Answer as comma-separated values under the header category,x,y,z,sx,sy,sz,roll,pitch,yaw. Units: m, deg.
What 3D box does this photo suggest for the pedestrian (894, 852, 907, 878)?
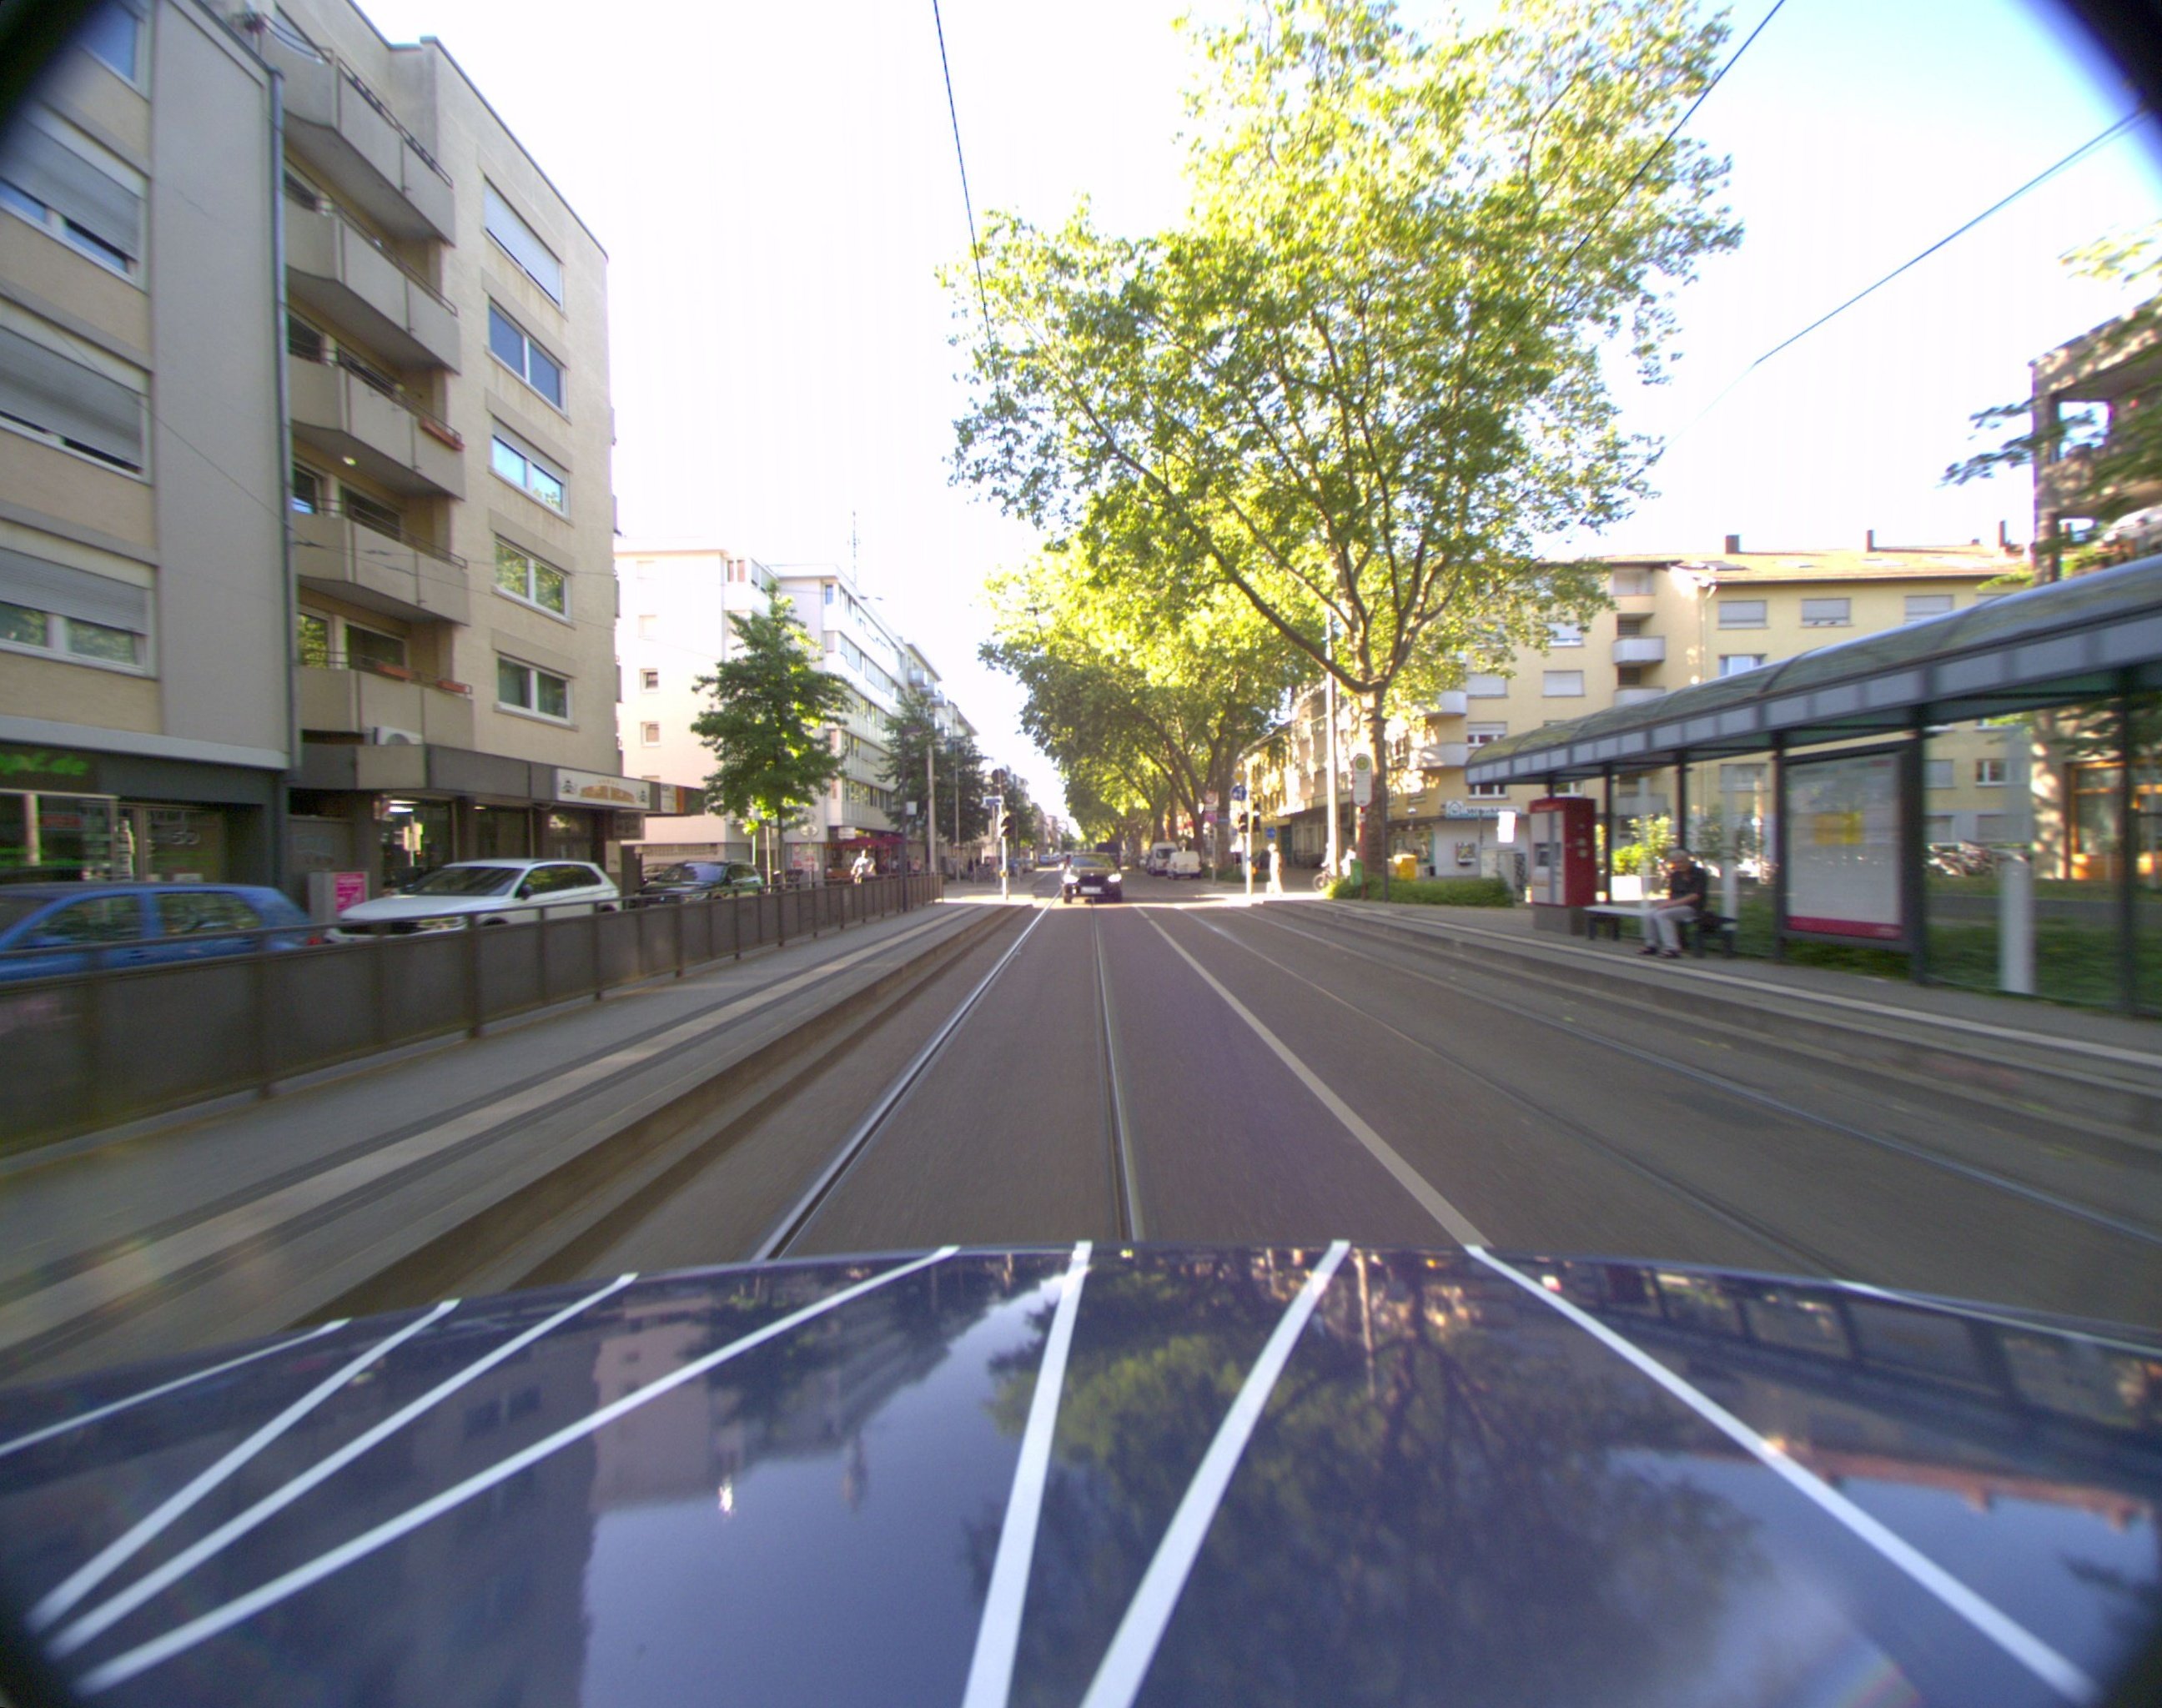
category,x,y,z,sx,sy,sz,roll,pitch,yaw
pedestrian,-13.151,0.801,55.352,0.525,1.795,0.633,-1,2,44

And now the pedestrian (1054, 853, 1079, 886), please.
category,x,y,z,sx,sy,sz,roll,pitch,yaw
pedestrian,-0.803,0.826,40.846,1.049,1.748,0.876,-2,1,-21

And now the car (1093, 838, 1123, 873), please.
category,x,y,z,sx,sy,sz,roll,pitch,yaw
car,2.165,0.104,62.656,2.119,2.722,6.113,0,1,-1

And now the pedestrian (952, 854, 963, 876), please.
category,x,y,z,sx,sy,sz,roll,pitch,yaw
pedestrian,-10.335,0.919,63.390,0.593,1.774,0.993,-2,1,-26

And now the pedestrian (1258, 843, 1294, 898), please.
category,x,y,z,sx,sy,sz,roll,pitch,yaw
pedestrian,6.662,0.558,26.017,0.926,1.825,0.920,-2,1,-3

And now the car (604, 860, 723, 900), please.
category,x,y,z,sx,sy,sz,roll,pitch,yaw
car,-18.895,1.144,34.540,4.259,1.583,1.966,-2,2,0

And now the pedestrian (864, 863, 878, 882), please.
category,x,y,z,sx,sy,sz,roll,pitch,yaw
pedestrian,-12.404,1.076,44.935,0.643,1.072,0.522,-2,1,-1

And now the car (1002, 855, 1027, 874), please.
category,x,y,z,sx,sy,sz,roll,pitch,yaw
car,-5.896,0.895,67.850,1.763,1.578,4.328,2,0,0

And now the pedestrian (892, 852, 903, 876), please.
category,x,y,z,sx,sy,sz,roll,pitch,yaw
pedestrian,-12.885,0.693,53.328,0.508,1.619,0.517,-3,1,-37

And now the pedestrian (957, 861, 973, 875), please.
category,x,y,z,sx,sy,sz,roll,pitch,yaw
pedestrian,-8.798,1.047,57.569,1.000,1.021,0.661,-2,1,10

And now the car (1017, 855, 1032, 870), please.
category,x,y,z,sx,sy,sz,roll,pitch,yaw
car,-6.197,0.911,83.132,1.448,1.528,2.881,1,0,0

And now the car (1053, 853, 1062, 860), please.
category,x,y,z,sx,sy,sz,roll,pitch,yaw
car,-5.599,0.525,182.702,1.867,1.499,4.000,-2,1,1

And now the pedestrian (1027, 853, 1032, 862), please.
category,x,y,z,sx,sy,sz,roll,pitch,yaw
pedestrian,-10.159,0.741,149.871,0.697,1.685,0.678,-2,1,0

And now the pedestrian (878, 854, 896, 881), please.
category,x,y,z,sx,sy,sz,roll,pitch,yaw
pedestrian,-12.058,0.813,47.295,0.813,1.649,0.679,-2,1,10

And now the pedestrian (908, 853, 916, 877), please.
category,x,y,z,sx,sy,sz,roll,pitch,yaw
pedestrian,-12.542,0.817,56.526,0.432,1.786,0.489,-2,1,-1

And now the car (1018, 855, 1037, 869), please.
category,x,y,z,sx,sy,sz,roll,pitch,yaw
car,-6.095,0.904,87.126,1.791,1.528,4.127,1,0,0

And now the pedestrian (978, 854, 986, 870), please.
category,x,y,z,sx,sy,sz,roll,pitch,yaw
pedestrian,-10.083,0.810,77.493,0.643,1.628,0.869,1,0,-1

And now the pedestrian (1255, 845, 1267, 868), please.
category,x,y,z,sx,sy,sz,roll,pitch,yaw
pedestrian,15.128,0.223,63.833,0.746,1.859,0.863,-2,1,-2

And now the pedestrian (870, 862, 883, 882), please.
category,x,y,z,sx,sy,sz,roll,pitch,yaw
pedestrian,-12.490,1.084,46.391,0.660,1.168,0.522,-2,1,-1

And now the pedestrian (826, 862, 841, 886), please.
category,x,y,z,sx,sy,sz,roll,pitch,yaw
pedestrian,-13.734,1.114,42.175,0.536,1.280,0.715,-2,1,2

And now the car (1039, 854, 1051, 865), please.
category,x,y,z,sx,sy,sz,roll,pitch,yaw
car,-6.713,0.936,141.887,1.958,1.914,4.000,-2,1,1

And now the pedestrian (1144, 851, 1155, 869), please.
category,x,y,z,sx,sy,sz,roll,pitch,yaw
pedestrian,6.936,0.612,76.531,0.768,1.725,0.715,-1,2,42

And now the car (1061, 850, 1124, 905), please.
category,x,y,z,sx,sy,sz,roll,pitch,yaw
car,0.403,0.730,26.218,1.998,1.723,4.399,0,1,1

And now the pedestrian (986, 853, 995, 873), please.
category,x,y,z,sx,sy,sz,roll,pitch,yaw
pedestrian,-8.346,0.867,70.064,0.662,1.841,0.540,-1,1,42

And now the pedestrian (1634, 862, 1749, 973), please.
category,x,y,z,sx,sy,sz,roll,pitch,yaw
pedestrian,6.673,0.671,8.334,0.707,1.162,0.659,0,1,-3

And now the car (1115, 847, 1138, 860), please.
category,x,y,z,sx,sy,sz,roll,pitch,yaw
car,9.438,-0.180,159.382,4.661,2.518,2.000,-2,1,1

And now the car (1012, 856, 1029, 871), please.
category,x,y,z,sx,sy,sz,roll,pitch,yaw
car,-6.284,0.963,79.297,1.627,1.473,3.888,1,0,-2

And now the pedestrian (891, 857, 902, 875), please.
category,x,y,z,sx,sy,sz,roll,pitch,yaw
pedestrian,-12.943,0.852,53.410,0.510,1.269,0.624,-3,1,-37

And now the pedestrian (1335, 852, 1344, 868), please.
category,x,y,z,sx,sy,sz,roll,pitch,yaw
pedestrian,17.900,0.441,52.652,0.421,1.099,0.437,-2,1,-9

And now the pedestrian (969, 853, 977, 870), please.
category,x,y,z,sx,sy,sz,roll,pitch,yaw
pedestrian,-11.004,0.751,77.461,0.597,1.668,0.934,1,1,-2

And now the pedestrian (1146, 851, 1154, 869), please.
category,x,y,z,sx,sy,sz,roll,pitch,yaw
pedestrian,6.863,0.607,75.586,0.770,1.767,0.714,-2,1,8
